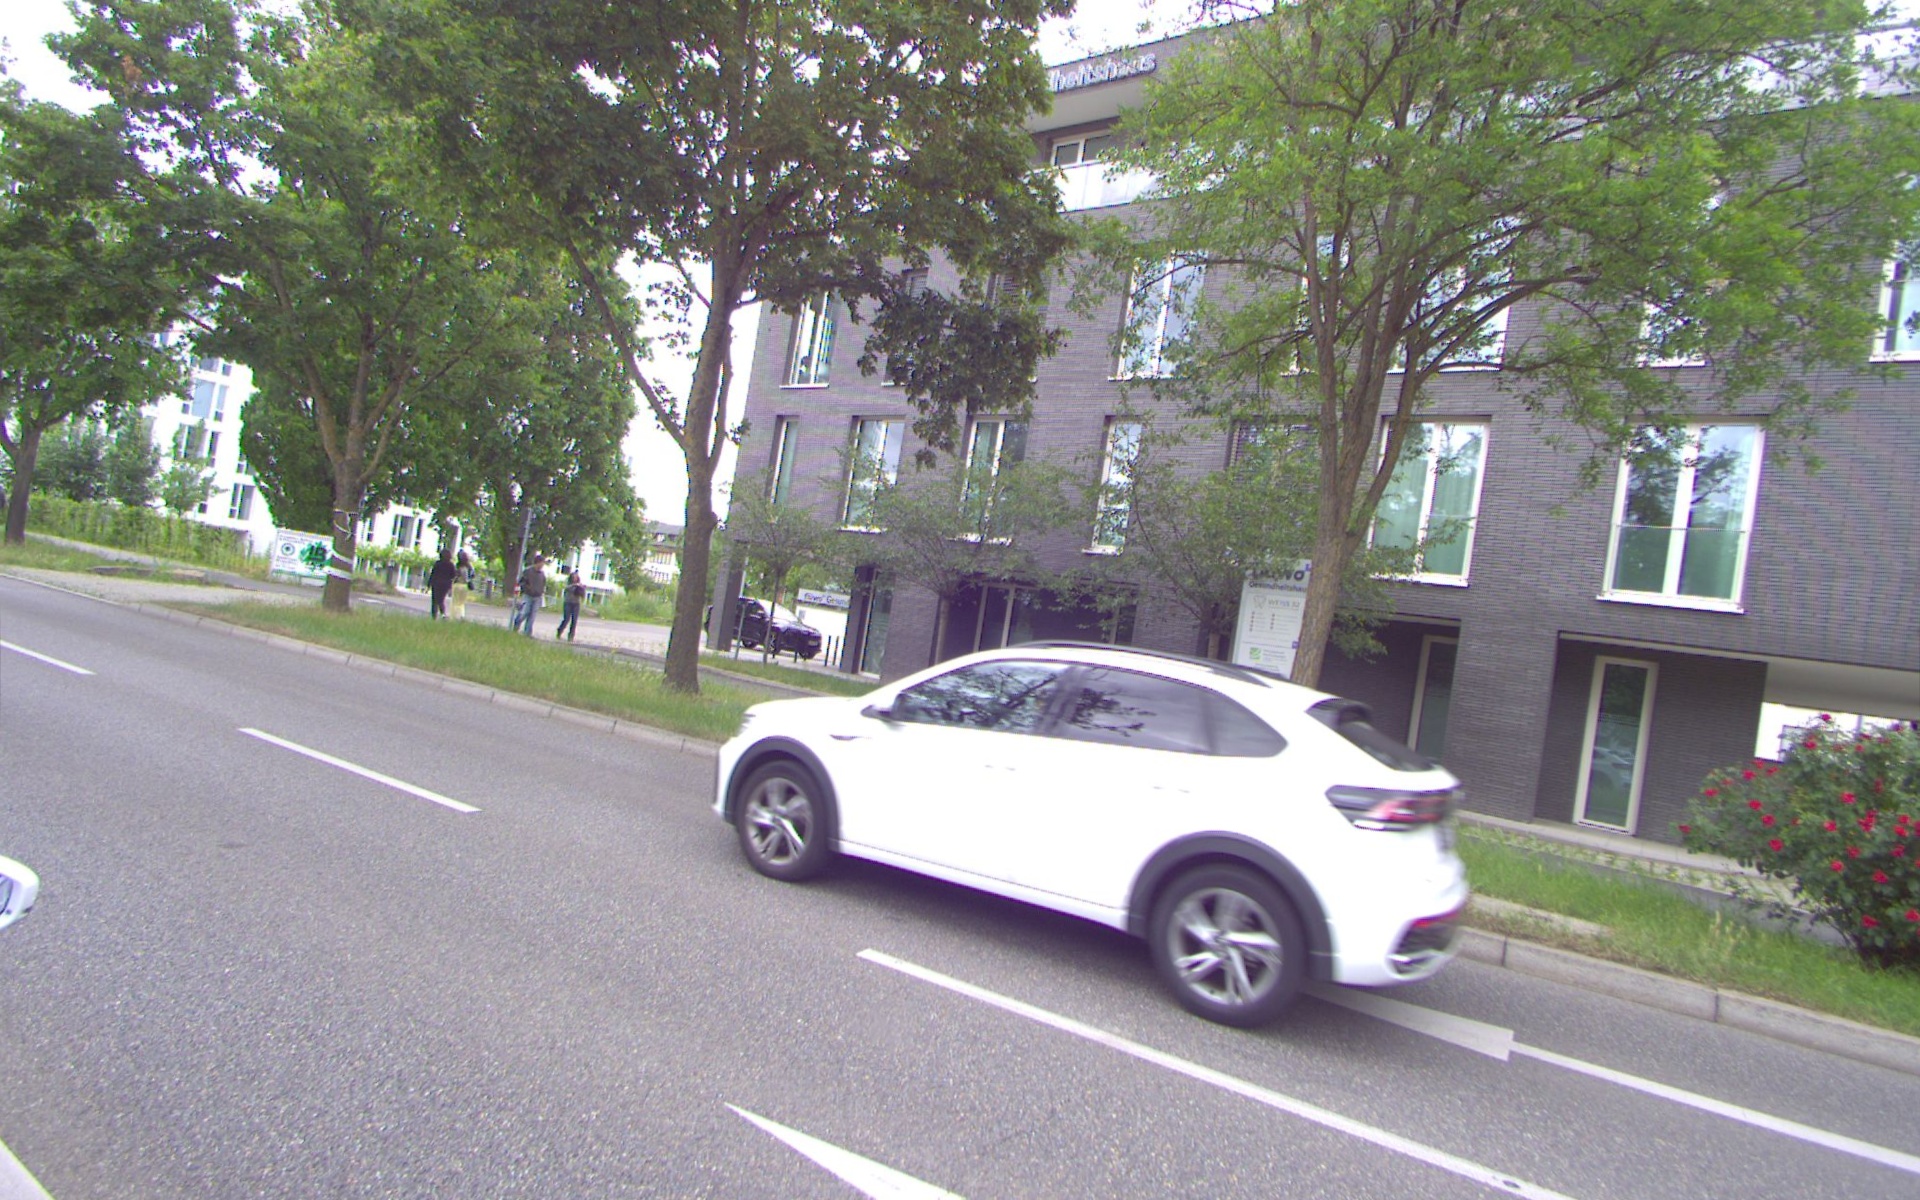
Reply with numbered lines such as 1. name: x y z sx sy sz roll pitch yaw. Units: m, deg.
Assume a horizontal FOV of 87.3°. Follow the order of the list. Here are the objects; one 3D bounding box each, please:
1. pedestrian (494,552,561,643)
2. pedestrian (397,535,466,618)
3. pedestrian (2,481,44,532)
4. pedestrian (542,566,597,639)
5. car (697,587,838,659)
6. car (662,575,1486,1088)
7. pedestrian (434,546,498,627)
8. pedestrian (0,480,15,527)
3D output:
1. pedestrian: -9.740 -0.065 22.645 0.956 1.889 0.968 9 -2 -39
2. pedestrian: -11.764 -0.515 22.401 1.043 1.679 0.796 7 -1 38
3. pedestrian: -34.217 -3.412 36.736 0.868 1.705 0.768 6 -1 31
4. pedestrian: -9.216 0.064 23.713 0.828 1.575 0.867 9 -2 -36
5. car: -6.094 0.722 31.690 4.080 1.665 1.759 7 -2 32
6. car: 0.511 0.922 5.540 4.021 1.574 1.719 7 -1 31
7. pedestrian: -11.284 -0.309 22.993 0.937 1.679 0.779 7 -1 38
8. pedestrian: -34.596 -3.490 36.042 0.868 1.614 0.701 6 -1 31
